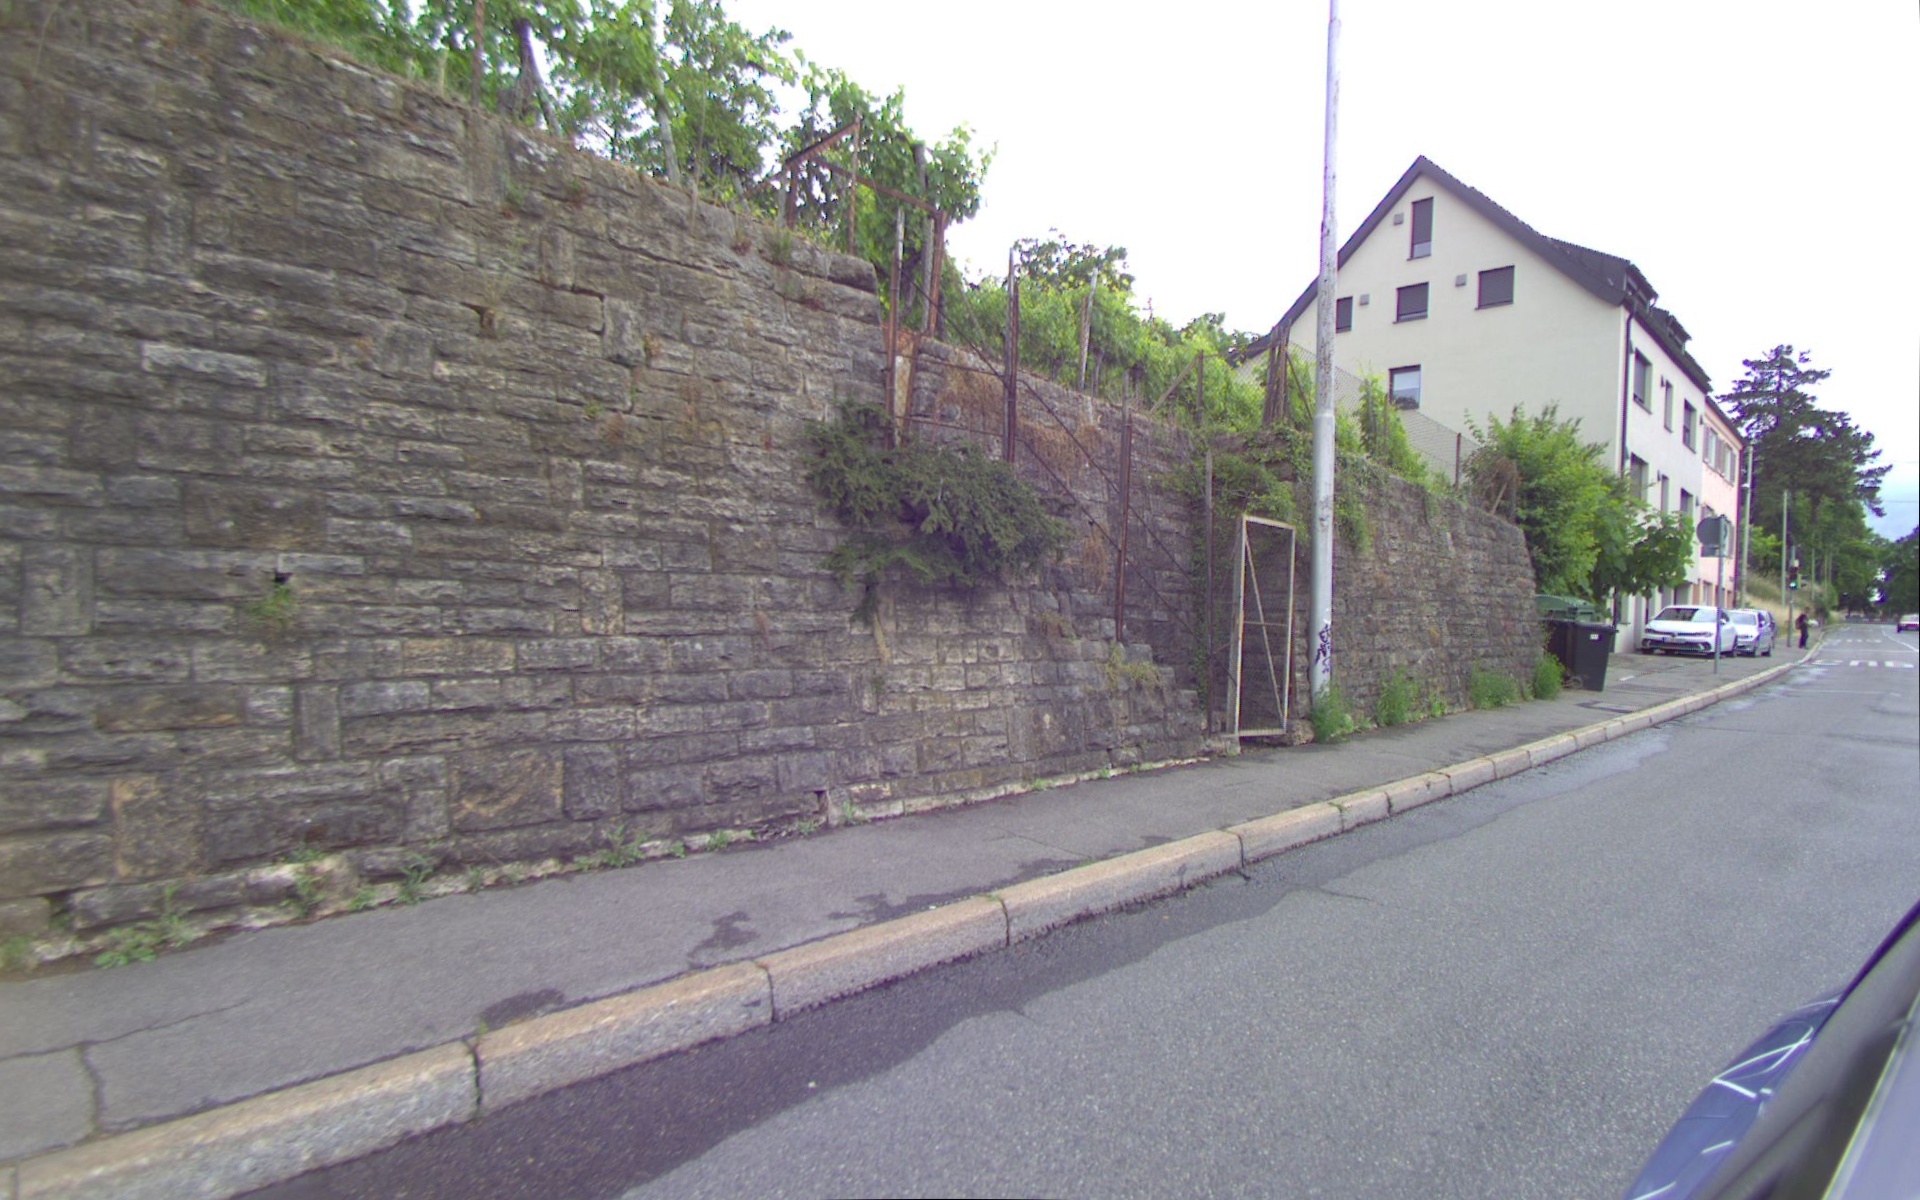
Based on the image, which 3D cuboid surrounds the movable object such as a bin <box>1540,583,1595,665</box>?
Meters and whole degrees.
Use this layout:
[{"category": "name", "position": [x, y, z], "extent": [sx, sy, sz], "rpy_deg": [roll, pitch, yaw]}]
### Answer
[{"category": "movable object such as a bin", "position": [11.997, 0.460, 19.977], "extent": [0.750, 1.565, 1.049], "rpy_deg": [2, 0, 41]}]

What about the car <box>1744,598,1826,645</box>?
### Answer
[{"category": "car", "position": [30.308, 0.734, 37.134], "extent": [4.180, 1.595, 1.904], "rpy_deg": [0, 0, -45]}]

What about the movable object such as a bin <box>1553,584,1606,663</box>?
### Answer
[{"category": "movable object such as a bin", "position": [12.828, 0.468, 20.955], "extent": [0.750, 1.561, 1.049], "rpy_deg": [2, 0, 41]}]

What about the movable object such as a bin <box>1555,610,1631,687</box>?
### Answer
[{"category": "movable object such as a bin", "position": [9.946, 0.742, 15.903], "extent": [0.860, 1.141, 0.810], "rpy_deg": [1, 0, -43]}]

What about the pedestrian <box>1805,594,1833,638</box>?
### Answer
[{"category": "pedestrian", "position": [34.602, 0.641, 40.773], "extent": [0.683, 1.733, 0.735], "rpy_deg": [1, 0, -40]}]

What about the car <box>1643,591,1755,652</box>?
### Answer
[{"category": "car", "position": [20.785, 0.538, 28.410], "extent": [3.987, 1.595, 1.796], "rpy_deg": [0, 0, -43]}]

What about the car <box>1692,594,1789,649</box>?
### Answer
[{"category": "car", "position": [24.278, 0.616, 31.440], "extent": [4.177, 1.595, 1.729], "rpy_deg": [0, 0, -43]}]

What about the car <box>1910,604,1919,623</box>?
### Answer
[{"category": "car", "position": [76.160, 1.090, 79.835], "extent": [3.934, 1.456, 1.643], "rpy_deg": [2, 0, -45]}]
